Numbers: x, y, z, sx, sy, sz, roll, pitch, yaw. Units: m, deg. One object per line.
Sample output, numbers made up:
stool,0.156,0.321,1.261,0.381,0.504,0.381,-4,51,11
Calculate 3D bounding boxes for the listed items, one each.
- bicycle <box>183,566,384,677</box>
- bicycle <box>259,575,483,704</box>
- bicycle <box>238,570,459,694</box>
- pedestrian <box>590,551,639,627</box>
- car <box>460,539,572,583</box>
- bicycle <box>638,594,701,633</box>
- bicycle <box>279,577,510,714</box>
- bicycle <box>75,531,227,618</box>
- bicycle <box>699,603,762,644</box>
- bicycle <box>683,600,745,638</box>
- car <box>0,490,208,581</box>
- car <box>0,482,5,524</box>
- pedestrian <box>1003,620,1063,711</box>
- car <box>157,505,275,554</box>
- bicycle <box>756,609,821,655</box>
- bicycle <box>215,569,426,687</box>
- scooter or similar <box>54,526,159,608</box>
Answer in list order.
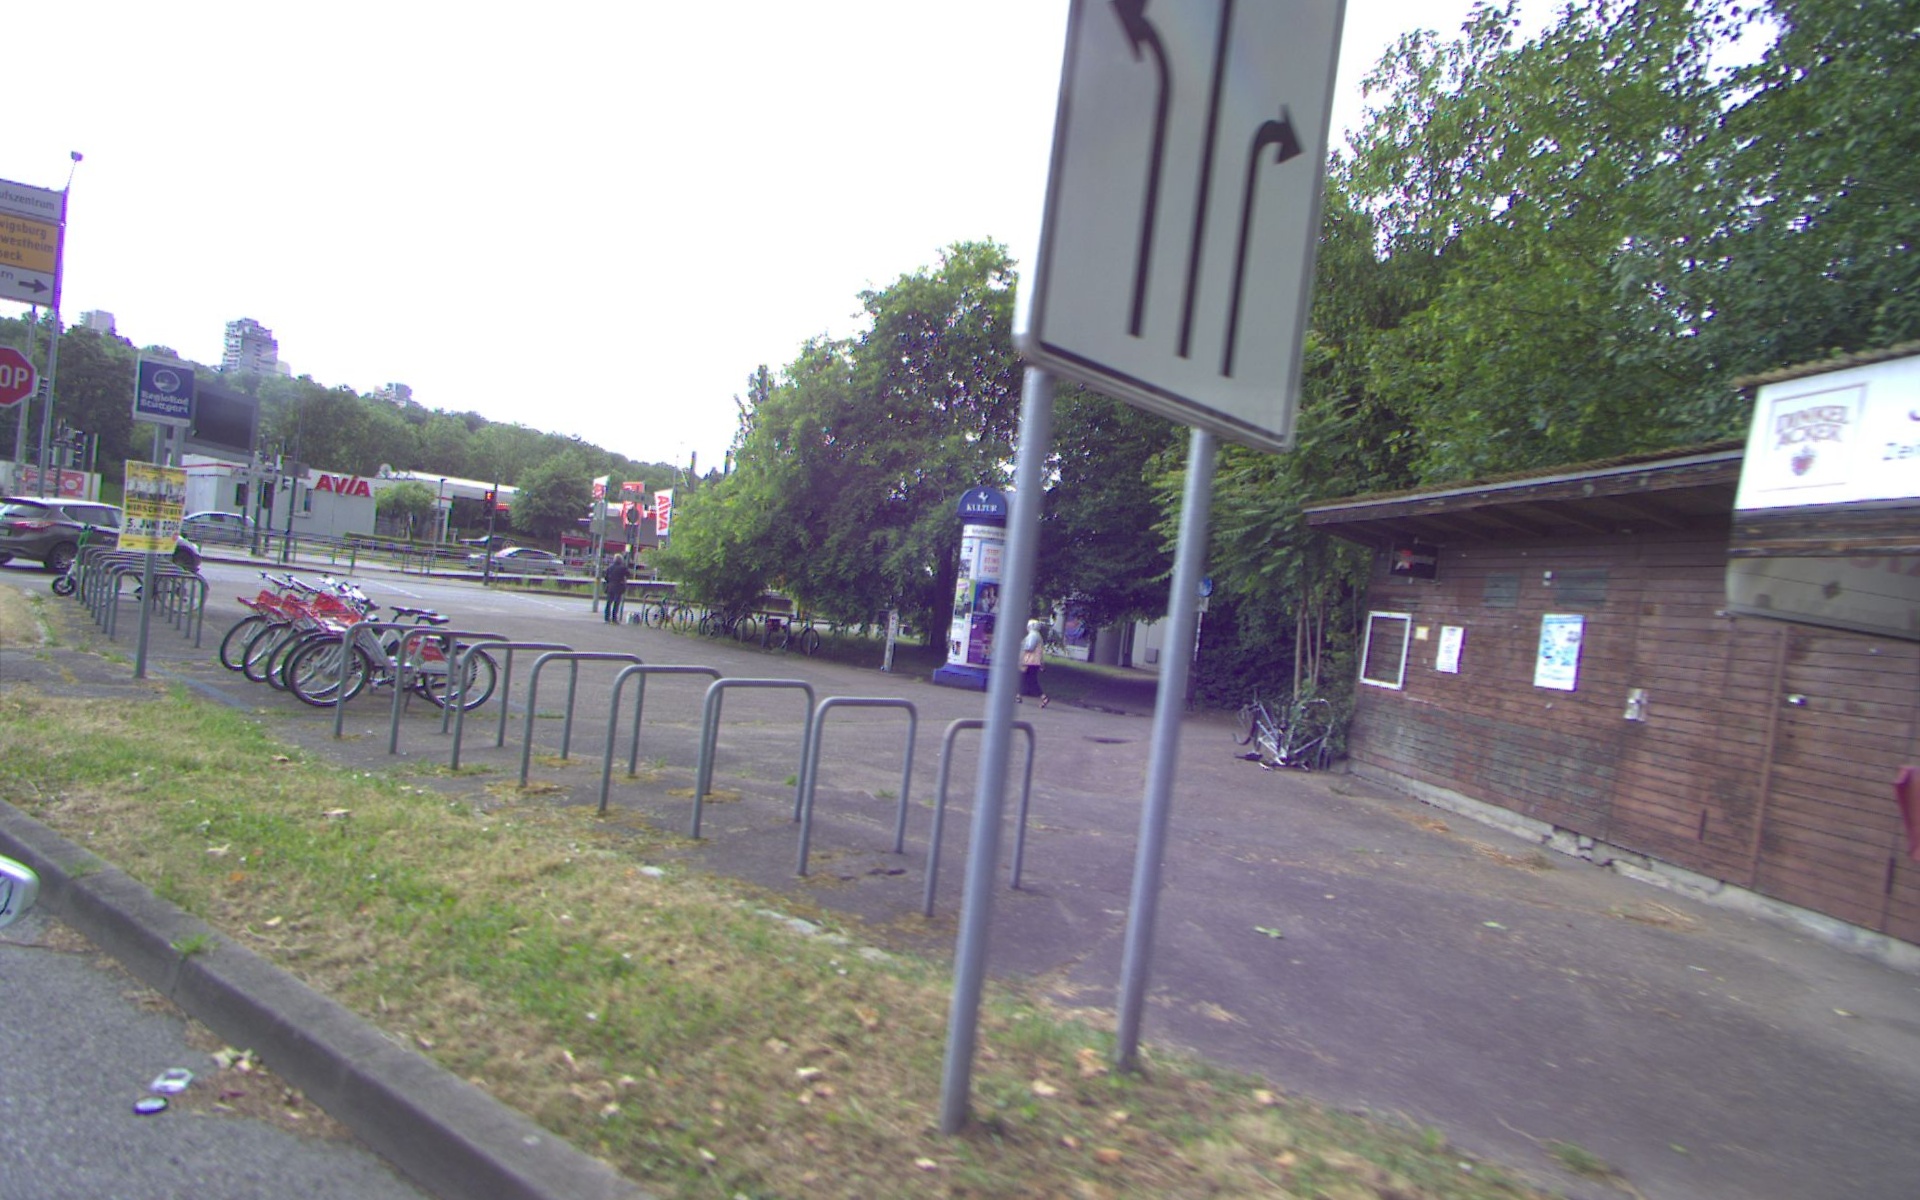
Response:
bicycle,-7.817,0.282,11.714,0.544,1.124,1.780,7,-1,35
bicycle,-5.748,0.422,9.912,0.449,1.124,1.777,6,-1,40
bicycle,-6.225,0.368,10.347,0.571,1.124,1.779,7,-1,35
pedestrian,-8.916,-0.270,25.964,0.762,1.842,0.689,7,1,12
car,-23.308,-2.014,52.955,1.988,1.620,4.914,7,0,43
bicycle,-7.838,0.367,27.194,0.354,0.909,1.716,7,0,35
bicycle,-5.247,0.450,9.406,1.768,1.124,0.421,6,0,-37
bicycle,-12.462,-0.374,15.544,0.471,1.125,1.690,9,1,35
bicycle,-5.887,0.620,25.880,0.369,0.909,1.716,7,0,35
bicycle,-6.430,0.512,26.367,0.369,0.910,1.715,7,2,35
car,-18.973,-1.374,21.877,1.700,1.549,4.150,7,0,6
car,-37.843,-3.887,35.968,1.716,1.542,5.052,7,0,36
pedestrian,1.326,1.189,18.242,0.766,1.550,0.510,7,1,37
car,-31.813,-2.998,43.061,1.681,1.526,3.761,7,0,44
bicycle,-4.140,0.788,24.372,0.369,1.003,1.716,7,0,35
bicycle,-6.827,0.332,10.839,0.532,1.124,1.779,5,-2,35
scooter or similar,-13.810,-0.515,16.299,0.290,1.184,1.179,8,1,42
